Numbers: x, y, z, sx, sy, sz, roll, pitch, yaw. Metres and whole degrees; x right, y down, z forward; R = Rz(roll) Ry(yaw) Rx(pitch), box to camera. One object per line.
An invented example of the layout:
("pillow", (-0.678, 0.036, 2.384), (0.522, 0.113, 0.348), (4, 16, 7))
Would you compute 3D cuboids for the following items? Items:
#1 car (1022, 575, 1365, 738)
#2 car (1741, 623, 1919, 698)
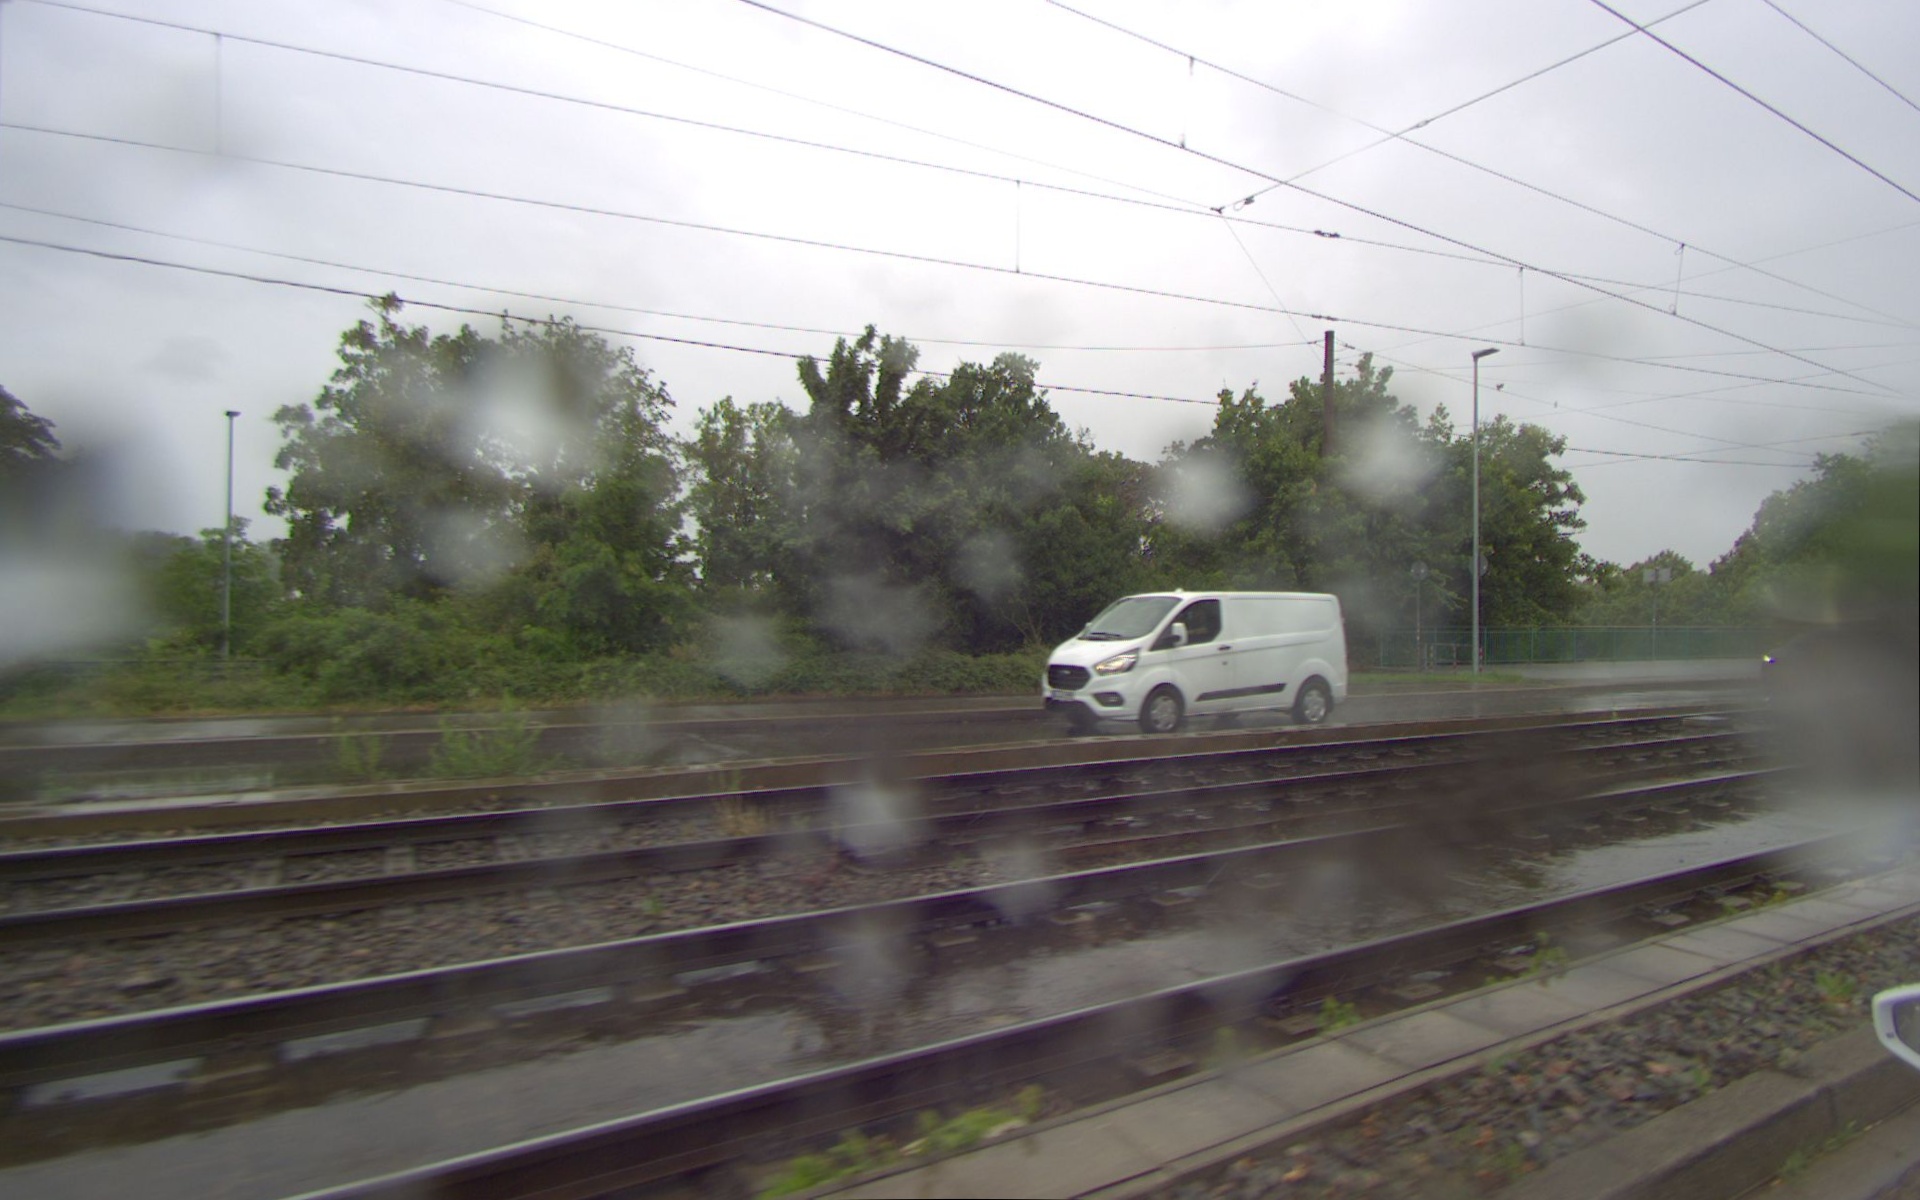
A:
("car", (3.542, 0.747, 14.936), (4.969, 2.071, 1.984), (1, 1, -31))
("car", (22.461, 1.485, 25.795), (5.309, 1.671, 1.984), (1, 0, -31))
